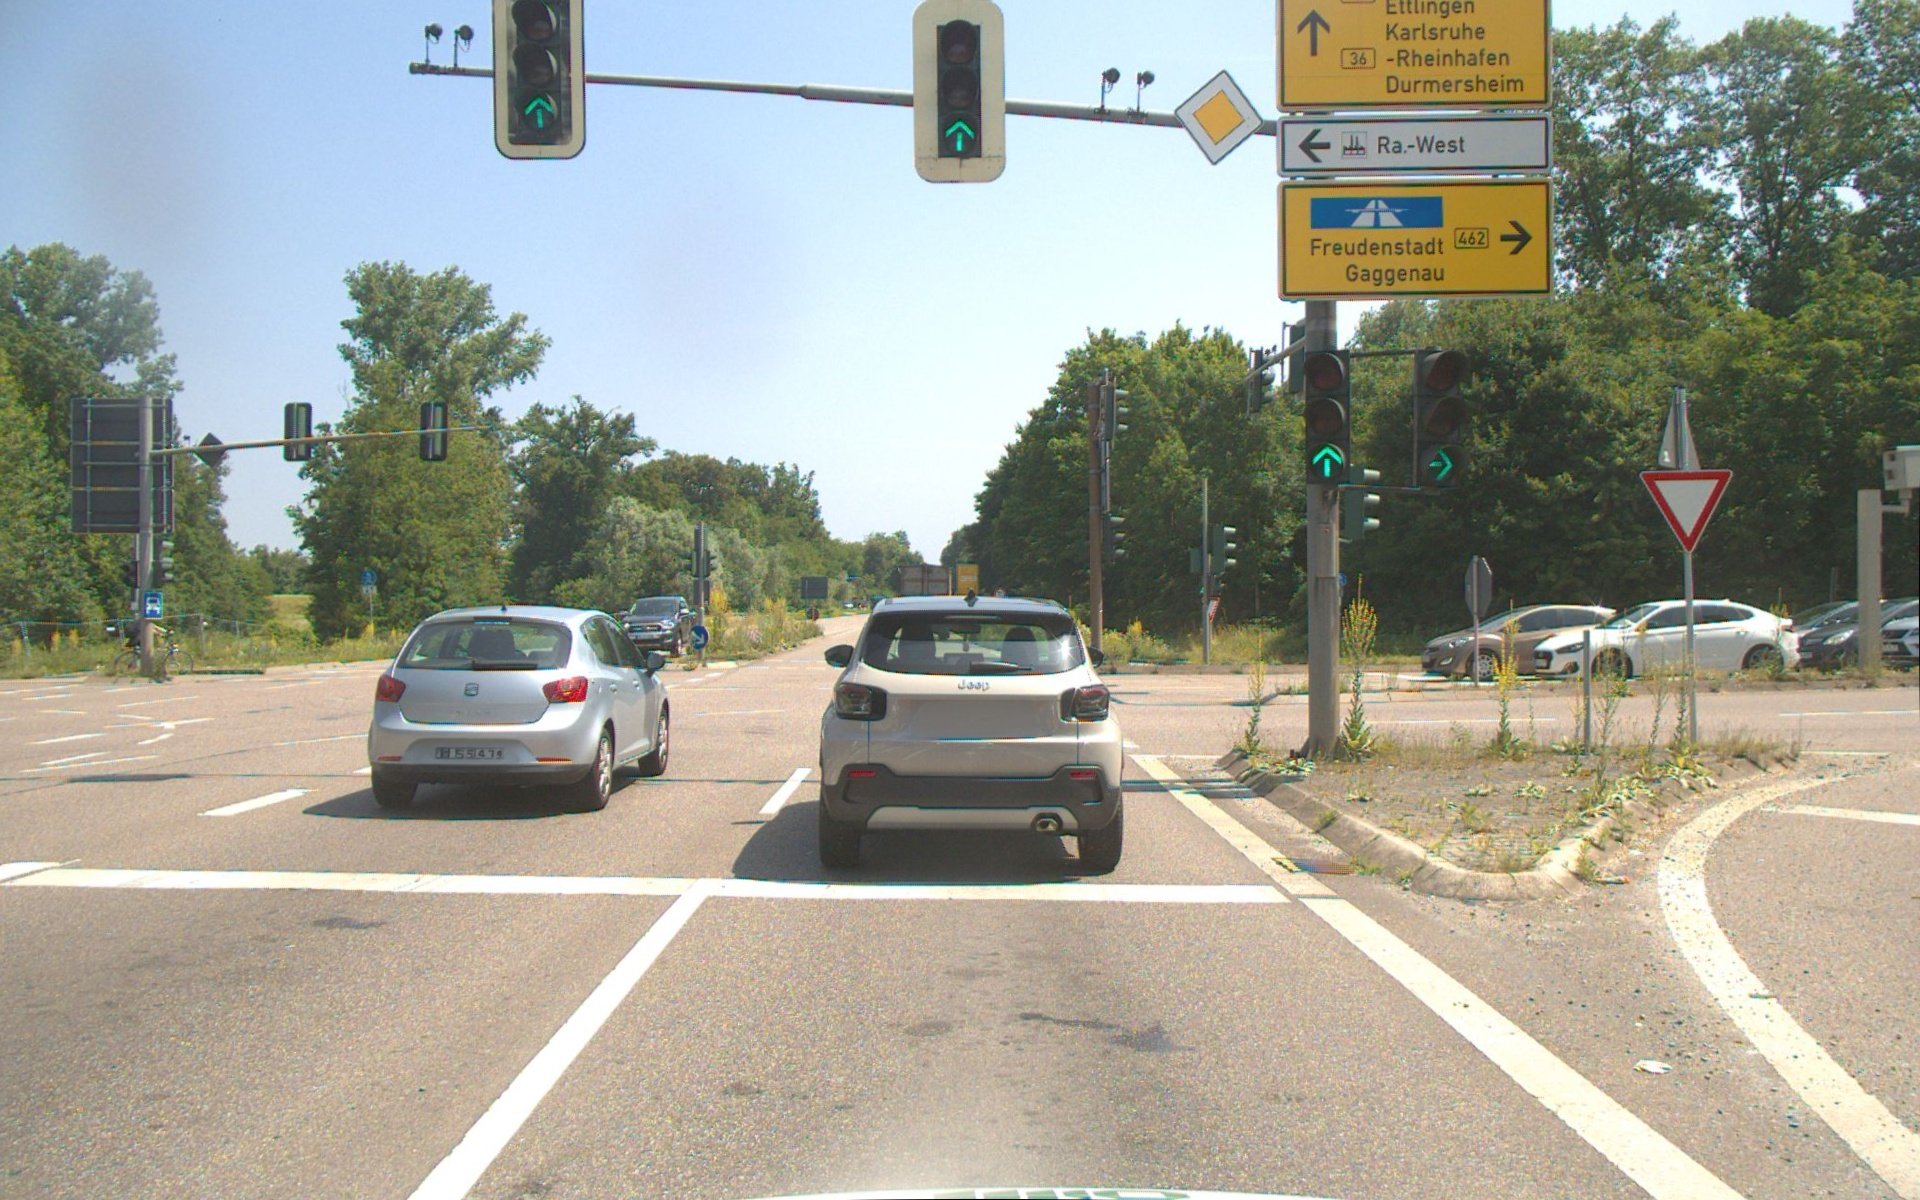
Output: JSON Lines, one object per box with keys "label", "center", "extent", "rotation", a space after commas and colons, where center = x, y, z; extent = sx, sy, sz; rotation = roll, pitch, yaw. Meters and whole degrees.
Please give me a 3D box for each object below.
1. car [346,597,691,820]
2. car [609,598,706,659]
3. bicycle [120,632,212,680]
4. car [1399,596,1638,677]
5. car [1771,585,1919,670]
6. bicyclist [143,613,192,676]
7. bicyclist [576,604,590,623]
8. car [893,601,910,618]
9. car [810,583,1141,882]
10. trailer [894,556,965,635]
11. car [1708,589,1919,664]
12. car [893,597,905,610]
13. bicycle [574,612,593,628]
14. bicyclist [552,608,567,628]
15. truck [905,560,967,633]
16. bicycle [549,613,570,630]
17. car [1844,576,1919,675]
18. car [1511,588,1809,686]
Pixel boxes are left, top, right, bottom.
{"label": "car", "center": [-3.248, 0.731, 12.915], "extent": [1.631, 1.455, 3.828], "rotation": [1, 0, 0]}
{"label": "car", "center": [-9.239, 0.843, 50.874], "extent": [1.953, 1.707, 5.365], "rotation": [-2, 0, 0]}
{"label": "bicycle", "center": [-19.036, 1.340, 39.682], "extent": [0.710, 1.082, 1.862], "rotation": [-1, 0, 36]}
{"label": "car", "center": [10.962, 0.698, 32.651], "extent": [4.010, 1.472, 1.994], "rotation": [-1, 0, -3]}
{"label": "car", "center": [18.514, 0.508, 32.256], "extent": [4.329, 1.562, 2.122], "rotation": [-1, -1, -1]}
{"label": "bicyclist", "center": [-19.006, 1.057, 39.673], "extent": [0.908, 1.485, 0.713], "rotation": [-1, -1, 37]}
{"label": "bicyclist", "center": [-24.924, 0.914, 109.323], "extent": [0.719, 1.216, 0.592], "rotation": [-2, -1, 10]}
{"label": "car", "center": [-7.271, 1.190, 205.828], "extent": [1.953, 2.049, 4.553], "rotation": [-1, 0, -1]}
{"label": "car", "center": [0.086, 0.704, 10.685], "extent": [1.731, 1.562, 4.000], "rotation": [0, 0, 0]}
{"label": "trailer", "center": [-1.581, -0.164, 91.065], "extent": [3.312, 4.059, 10.806], "rotation": [1, -1, 2]}
{"label": "car", "center": [19.024, 0.570, 35.971], "extent": [4.522, 1.525, 2.111], "rotation": [-1, -1, -1]}
{"label": "car", "center": [-9.292, 0.537, 252.194], "extent": [1.737, 2.049, 4.000], "rotation": [-1, 0, 0]}
{"label": "bicycle", "center": [-24.870, 1.294, 109.243], "extent": [0.591, 1.023, 1.557], "rotation": [-2, -1, 10]}
{"label": "bicyclist", "center": [-25.281, 1.131, 104.482], "extent": [0.741, 1.216, 0.592], "rotation": [-2, 0, 10]}
{"label": "truck", "center": [-1.360, -0.136, 96.511], "extent": [3.264, 4.059, 6.534], "rotation": [1, -1, 2]}
{"label": "bicycle", "center": [-25.284, 1.327, 104.459], "extent": [0.661, 1.023, 1.802], "rotation": [-2, 0, 9]}
{"label": "car", "center": [18.180, 0.398, 29.186], "extent": [4.087, 1.688, 2.000], "rotation": [-1, 0, -1]}
{"label": "car", "center": [12.111, 0.627, 28.817], "extent": [4.331, 1.562, 1.999], "rotation": [-1, 0, -2]}
